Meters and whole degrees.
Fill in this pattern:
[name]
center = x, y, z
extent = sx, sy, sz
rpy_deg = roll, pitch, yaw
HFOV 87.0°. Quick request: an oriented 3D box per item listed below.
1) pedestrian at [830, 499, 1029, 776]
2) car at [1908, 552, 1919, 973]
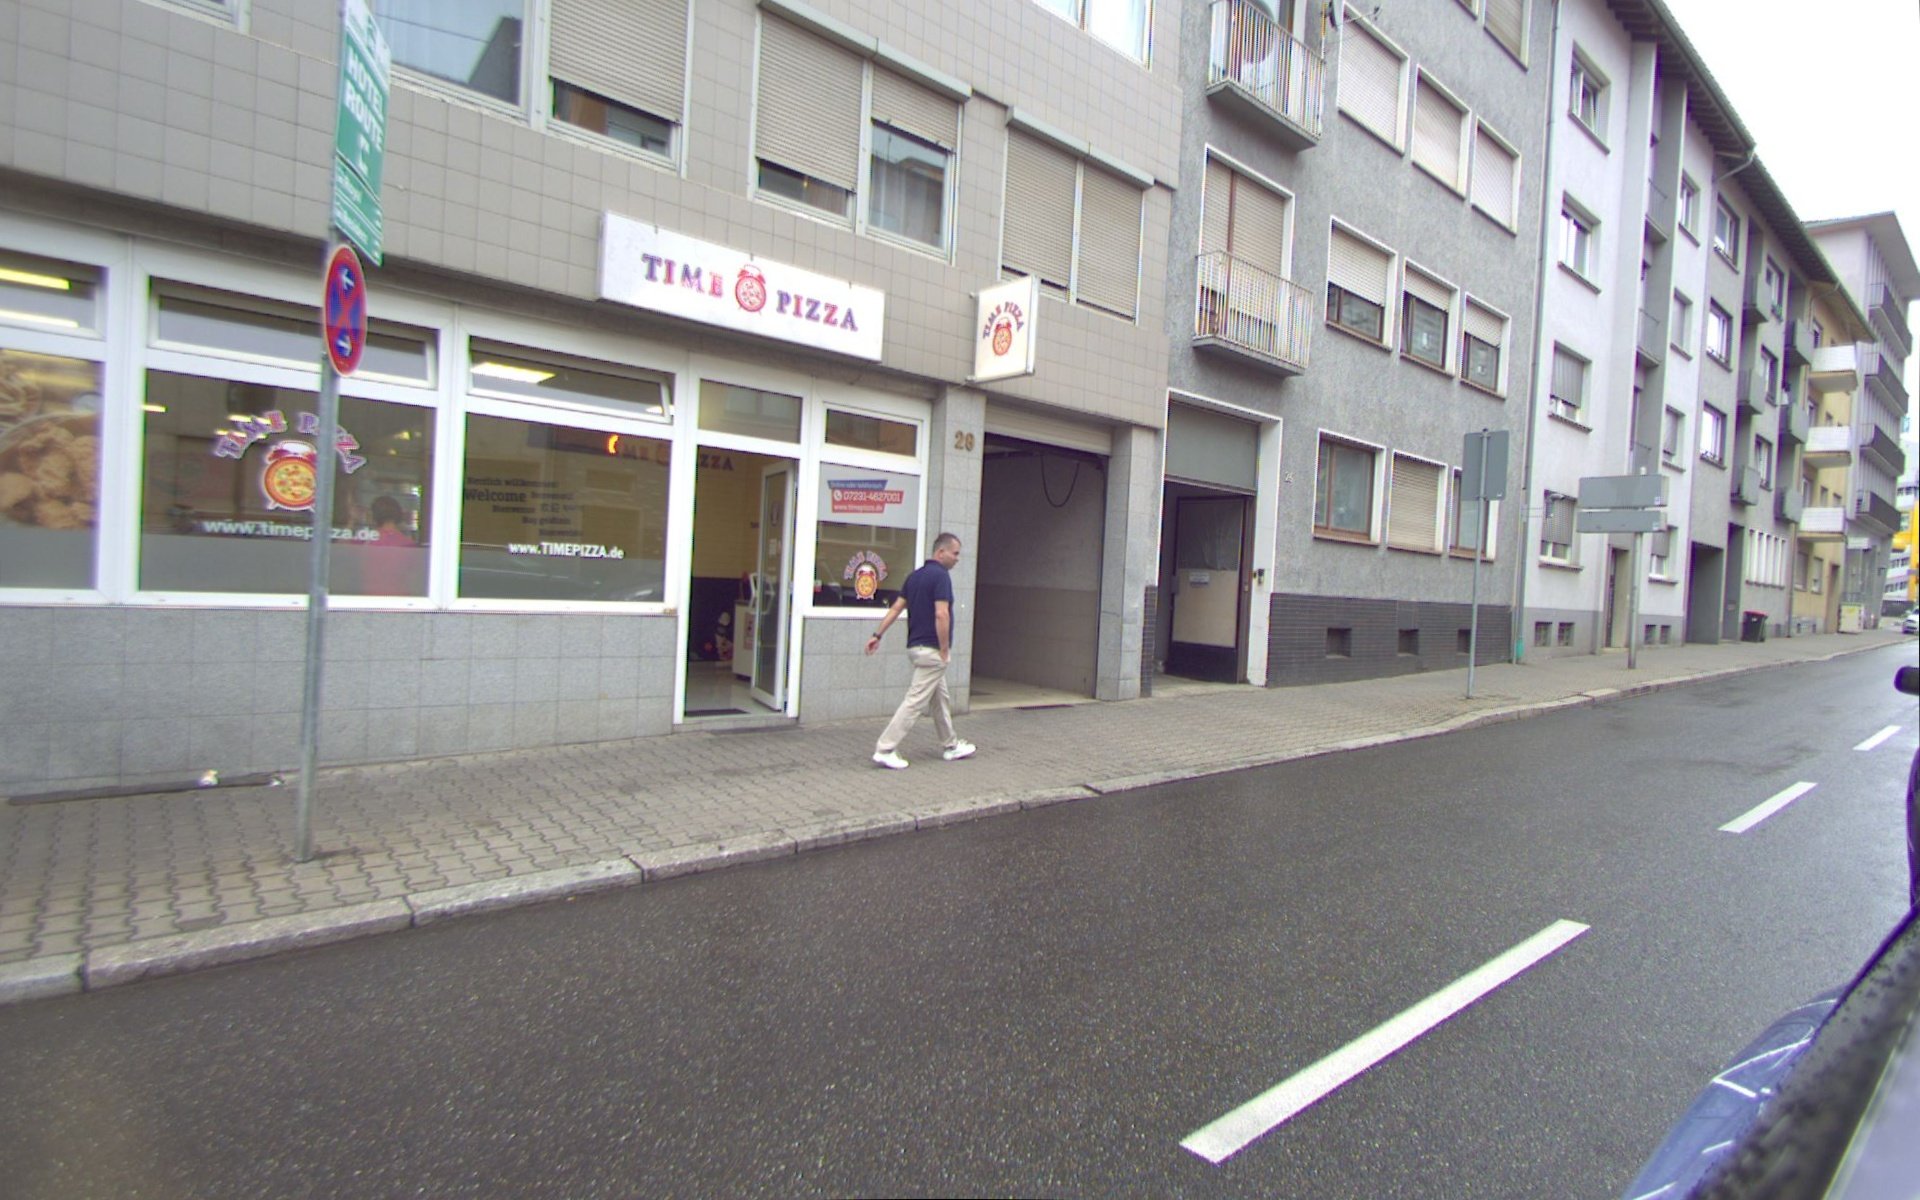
[pedestrian]
center = -0.235, 0.228, 7.667
extent = 1.100, 1.887, 0.871
rpy_deg = 0, 6, -41
[car]
center = 6.067, 0.656, 4.929
extent = 4.144, 1.743, 1.697
rpy_deg = -1, 0, -41
